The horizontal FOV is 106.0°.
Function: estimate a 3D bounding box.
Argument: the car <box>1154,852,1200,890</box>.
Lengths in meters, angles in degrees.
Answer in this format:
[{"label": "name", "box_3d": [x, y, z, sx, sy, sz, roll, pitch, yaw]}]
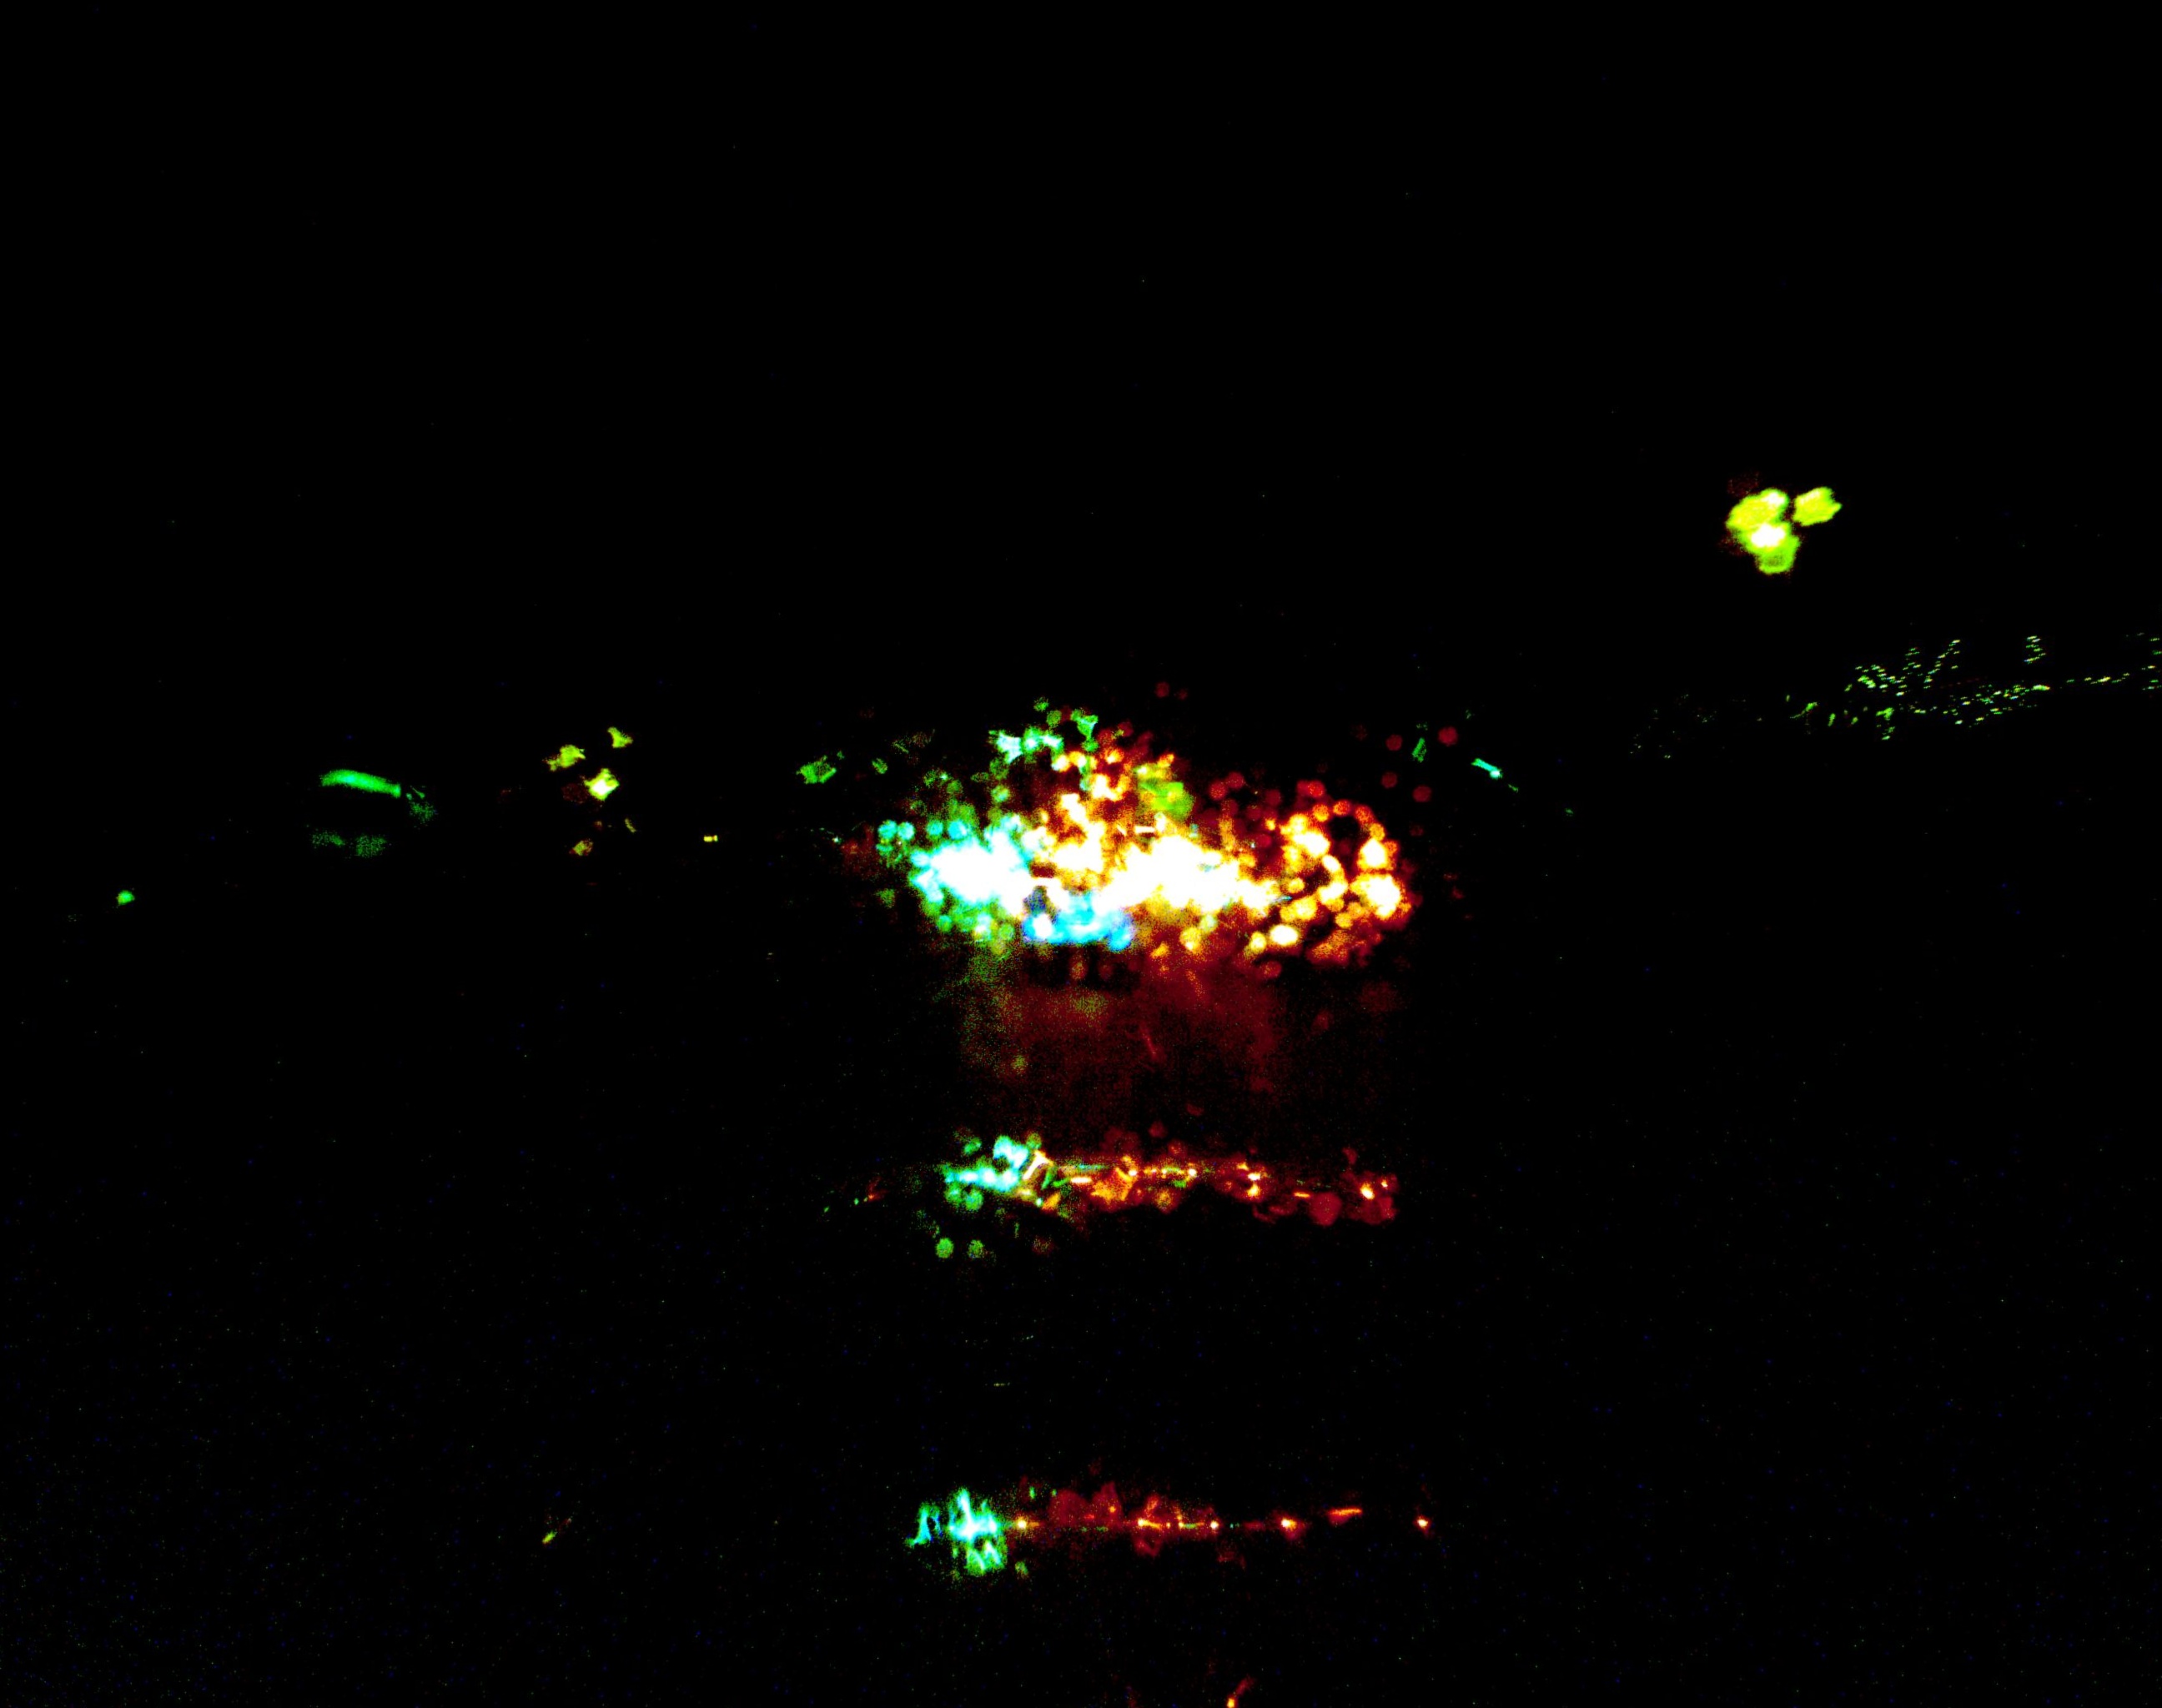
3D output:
[{"label": "car", "box_3d": [3.929, 0.672, 33.904, 1.656, 1.450, 4.054, -2, 0, 4]}]

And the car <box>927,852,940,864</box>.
[{"label": "car", "box_3d": [-25.643, 0.644, 141.488, 1.993, 1.912, 4.728, -1, 0, -9]}]

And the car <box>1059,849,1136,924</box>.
[{"label": "car", "box_3d": [0.457, 0.735, 20.567, 1.702, 1.638, 3.733, -3, 0, 2]}]

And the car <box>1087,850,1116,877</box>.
[{"label": "car", "box_3d": [1.342, 0.610, 54.862, 1.704, 1.638, 3.728, -3, 0, -2]}]

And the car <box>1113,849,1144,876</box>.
[{"label": "car", "box_3d": [2.720, 0.492, 47.504, 1.657, 1.450, 4.051, -1, -1, 1]}]

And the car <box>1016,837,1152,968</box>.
[{"label": "car", "box_3d": [0.107, 0.624, 12.186, 1.688, 1.630, 3.854, -1, 0, 2]}]

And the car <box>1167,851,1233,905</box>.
[{"label": "car", "box_3d": [3.562, 0.668, 24.983, 1.759, 1.450, 4.224, -1, 0, 5]}]

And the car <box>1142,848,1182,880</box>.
[{"label": "car", "box_3d": [3.968, 0.454, 40.458, 1.657, 1.450, 4.051, -1, 0, 1]}]

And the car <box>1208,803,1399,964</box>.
[{"label": "car", "box_3d": [3.108, 0.350, 12.282, 1.934, 1.972, 4.222, -1, 0, 4]}]

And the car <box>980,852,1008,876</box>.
[{"label": "car", "box_3d": [-7.100, 0.781, 66.795, 1.989, 1.912, 4.737, -1, 0, -3]}]
